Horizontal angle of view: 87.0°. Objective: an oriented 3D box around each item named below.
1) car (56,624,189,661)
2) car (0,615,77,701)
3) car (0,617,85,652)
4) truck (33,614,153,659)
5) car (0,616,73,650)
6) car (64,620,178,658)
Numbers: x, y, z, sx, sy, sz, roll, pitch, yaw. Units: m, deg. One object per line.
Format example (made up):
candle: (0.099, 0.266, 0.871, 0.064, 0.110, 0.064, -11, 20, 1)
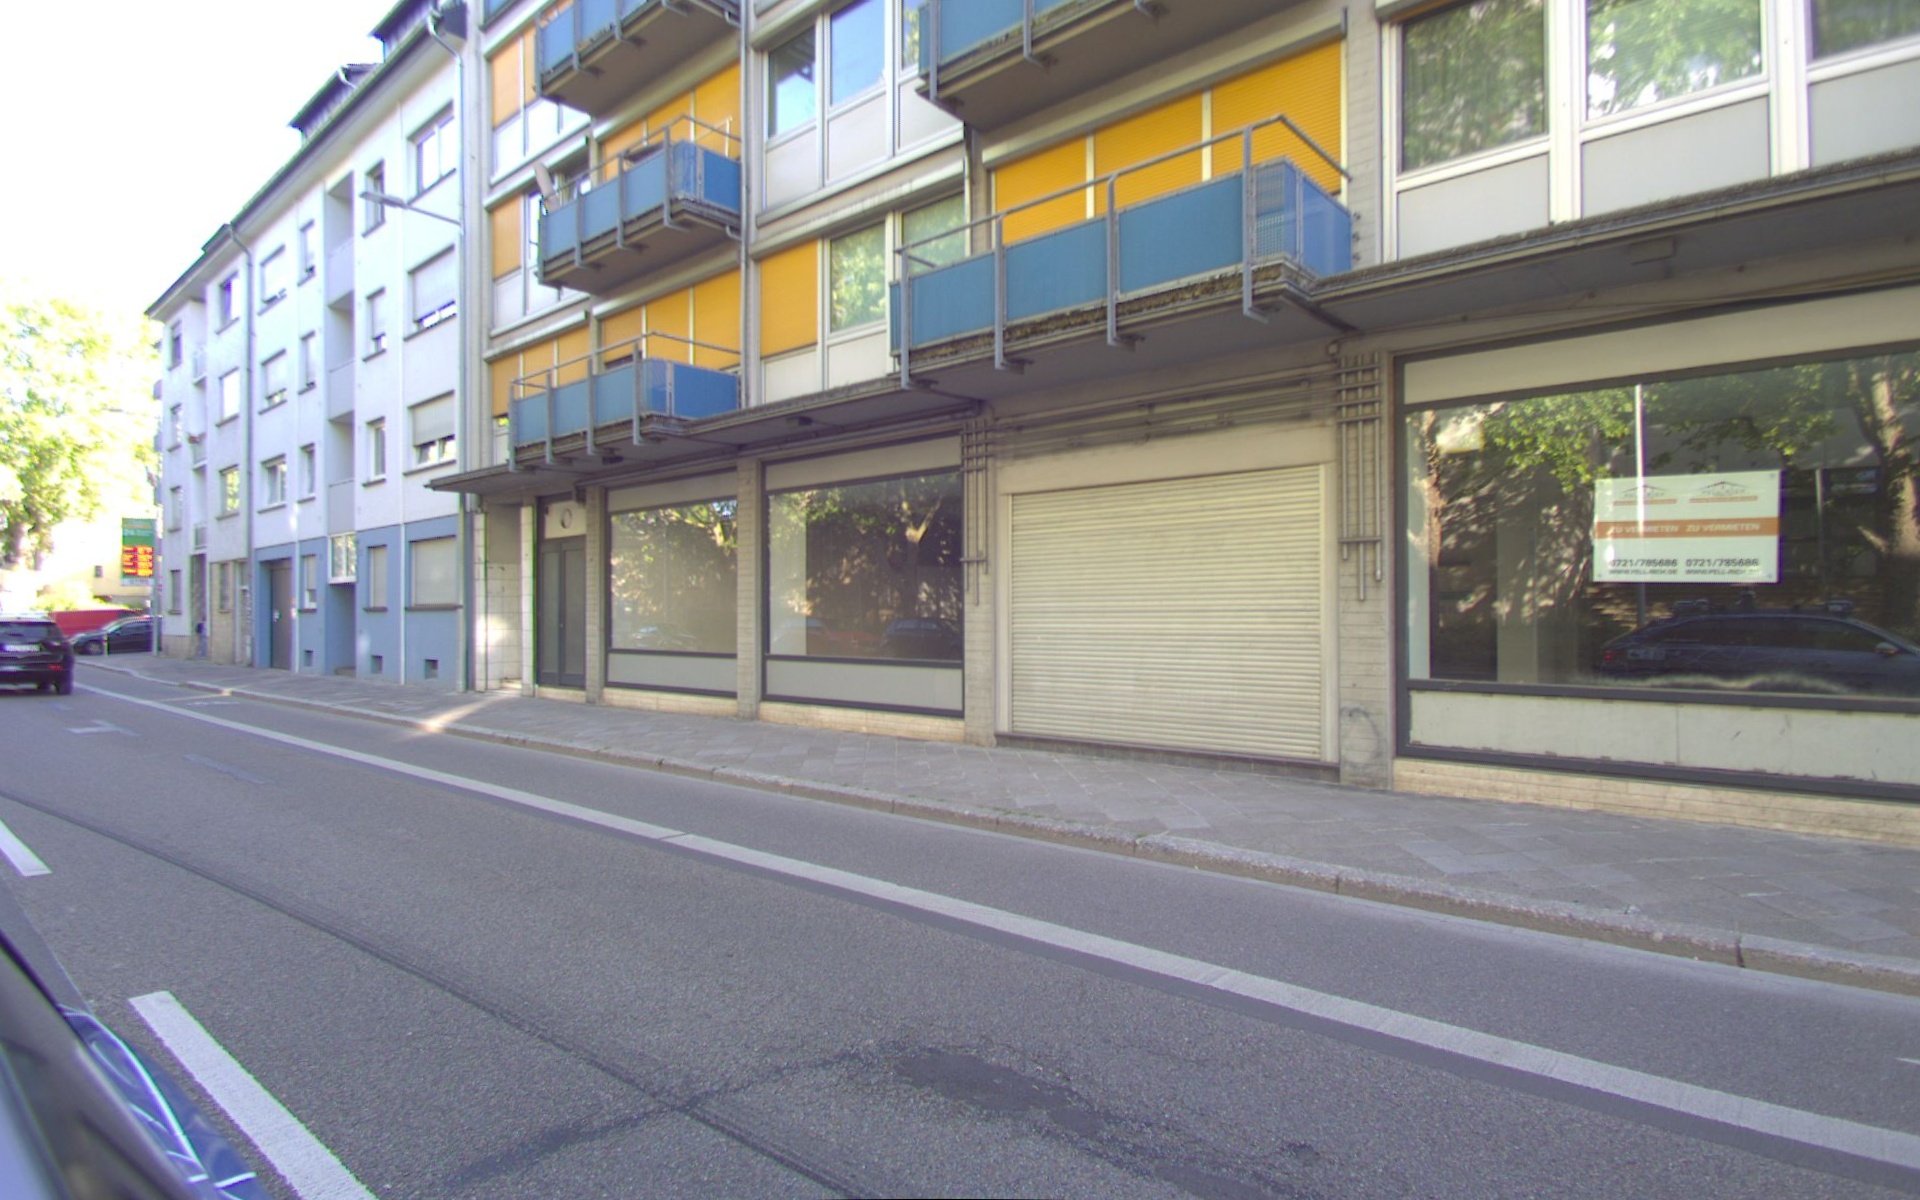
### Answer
car: (-36.487, 1.795, 44.162, 1.657, 1.417, 4.269, -1, 0, 40)
car: (-20.237, 1.163, 21.394, 3.998, 1.690, 1.823, -1, -2, 41)
car: (-56.052, 2.070, 61.475, 2.000, 1.971, 4.180, -1, 0, 43)
truck: (-40.718, 1.650, 47.580, 1.999, 1.939, 4.040, -1, 0, 40)
car: (-59.335, 2.099, 64.404, 2.000, 2.052, 4.180, -1, 0, 43)
car: (-38.038, 1.732, 45.945, 1.657, 1.583, 3.762, -1, 0, 41)
